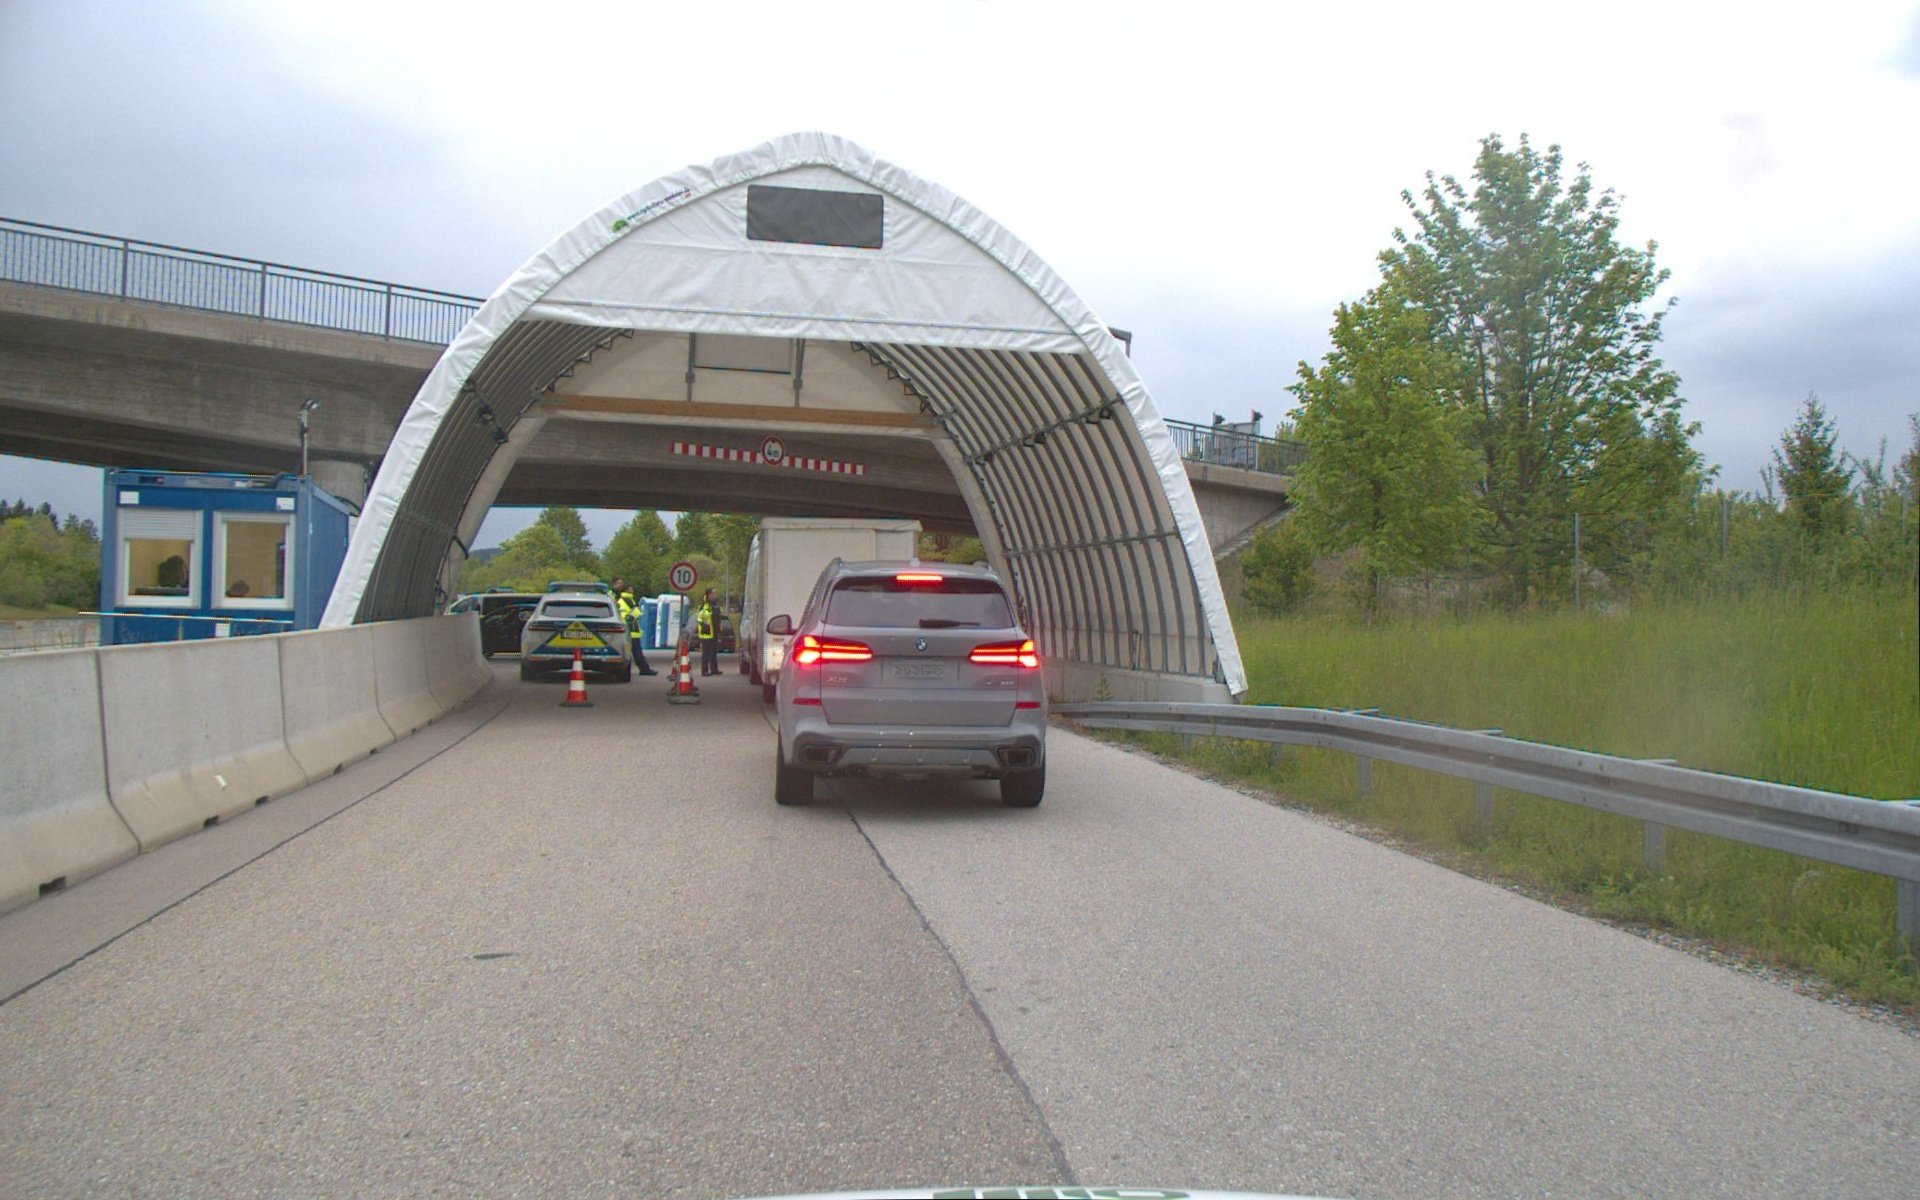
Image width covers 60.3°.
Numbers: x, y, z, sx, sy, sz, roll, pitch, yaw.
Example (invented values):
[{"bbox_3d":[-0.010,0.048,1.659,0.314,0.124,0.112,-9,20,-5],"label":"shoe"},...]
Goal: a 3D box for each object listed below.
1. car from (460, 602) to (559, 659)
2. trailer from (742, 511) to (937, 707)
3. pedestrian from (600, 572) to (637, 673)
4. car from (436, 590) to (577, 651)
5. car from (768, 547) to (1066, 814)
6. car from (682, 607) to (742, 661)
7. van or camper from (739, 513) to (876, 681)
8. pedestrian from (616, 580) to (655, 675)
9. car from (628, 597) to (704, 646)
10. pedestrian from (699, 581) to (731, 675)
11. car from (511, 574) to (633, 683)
[{"bbox_3d":[-12.228,0.804,44.818,1.503,1.467,3.272,0,-1,-37],"label":"car"},{"bbox_3d":[-1.955,0.186,24.369,2.237,2.473,6.801,1,-1,-10],"label":"trailer"},{"bbox_3d":[-6.768,0.448,32.793,0.707,1.979,0.688,0,-1,-11],"label":"pedestrian"},{"bbox_3d":[-14.163,0.632,51.729,3.903,1.886,1.710,0,0,4],"label":"car"},{"bbox_3d":[-0.409,0.560,12.920,1.954,1.750,3.997,1,-1,-4],"label":"car"},{"bbox_3d":[-9.167,1.217,60.994,1.676,1.886,3.982,0,0,-16],"label":"car"},{"bbox_3d":[-2.949,0.009,30.771,2.117,2.812,5.858,1,-1,-9],"label":"van or camper"},{"bbox_3d":[-6.244,0.519,31.832,0.707,1.807,0.688,0,-1,-11],"label":"pedestrian"},{"bbox_3d":[-12.582,0.907,70.623,1.973,2.049,3.959,1,-1,-30],"label":"car"},{"bbox_3d":[-4.762,0.540,32.130,0.593,1.807,0.648,0,-1,-11],"label":"pedestrian"},{"bbox_3d":[-6.828,0.478,29.408,1.958,1.803,3.754,0,0,-12],"label":"car"}]
